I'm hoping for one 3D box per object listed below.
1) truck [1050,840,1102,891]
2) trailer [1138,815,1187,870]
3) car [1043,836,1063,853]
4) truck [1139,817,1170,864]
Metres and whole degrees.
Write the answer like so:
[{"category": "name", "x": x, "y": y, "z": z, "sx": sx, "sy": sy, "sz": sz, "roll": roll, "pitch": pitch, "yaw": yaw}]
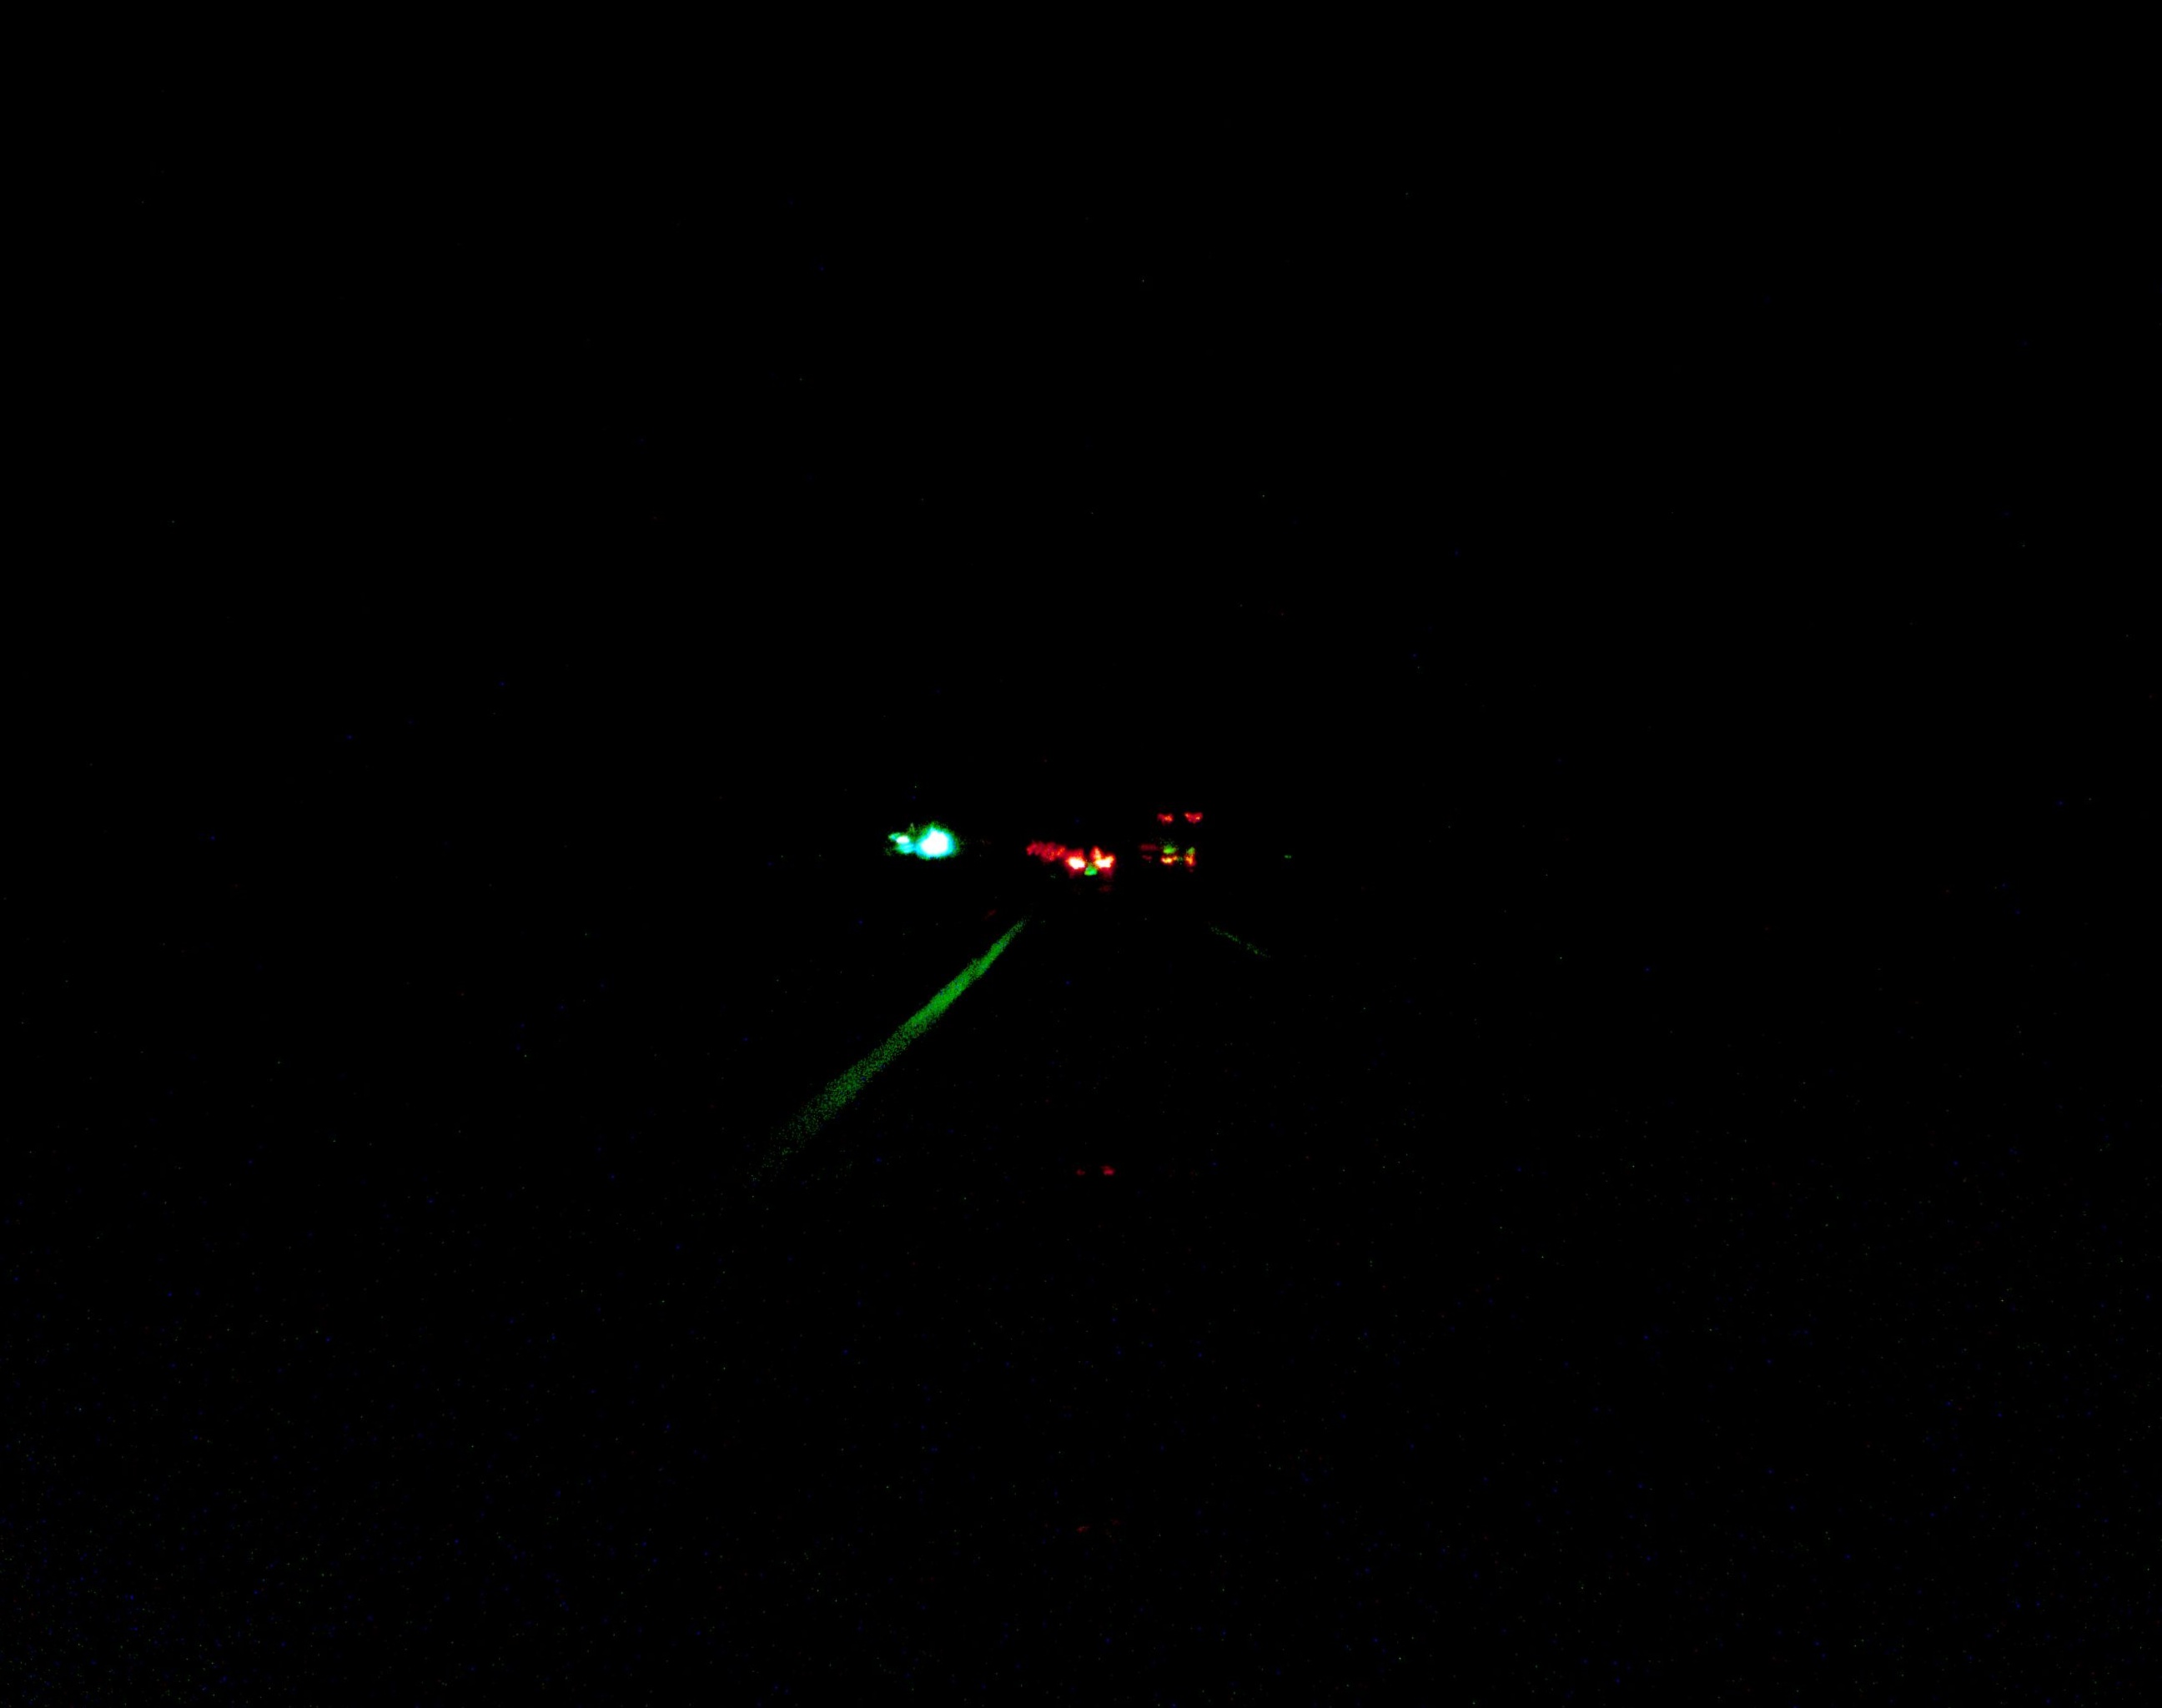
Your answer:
[{"category": "truck", "x": -0.129, "y": 0.467, "z": 39.879, "sx": 2.137, "sy": 2.077, "sz": 6.608, "roll": 4, "pitch": 2, "yaw": 2}, {"category": "trailer", "x": 6.870, "y": -1.074, "z": 70.464, "sx": 2.730, "sy": 4.247, "sz": 13.371, "roll": -2, "pitch": 1, "yaw": 0}, {"category": "car", "x": -3.466, "y": -1.191, "z": 101.474, "sx": 1.993, "sy": 2.013, "sz": 3.987, "roll": -1, "pitch": 0, "yaw": -10}, {"category": "truck", "x": 6.880, "y": -1.296, "z": 76.994, "sx": 2.700, "sy": 4.241, "sz": 5.297, "roll": 0, "pitch": 1, "yaw": 2}]
